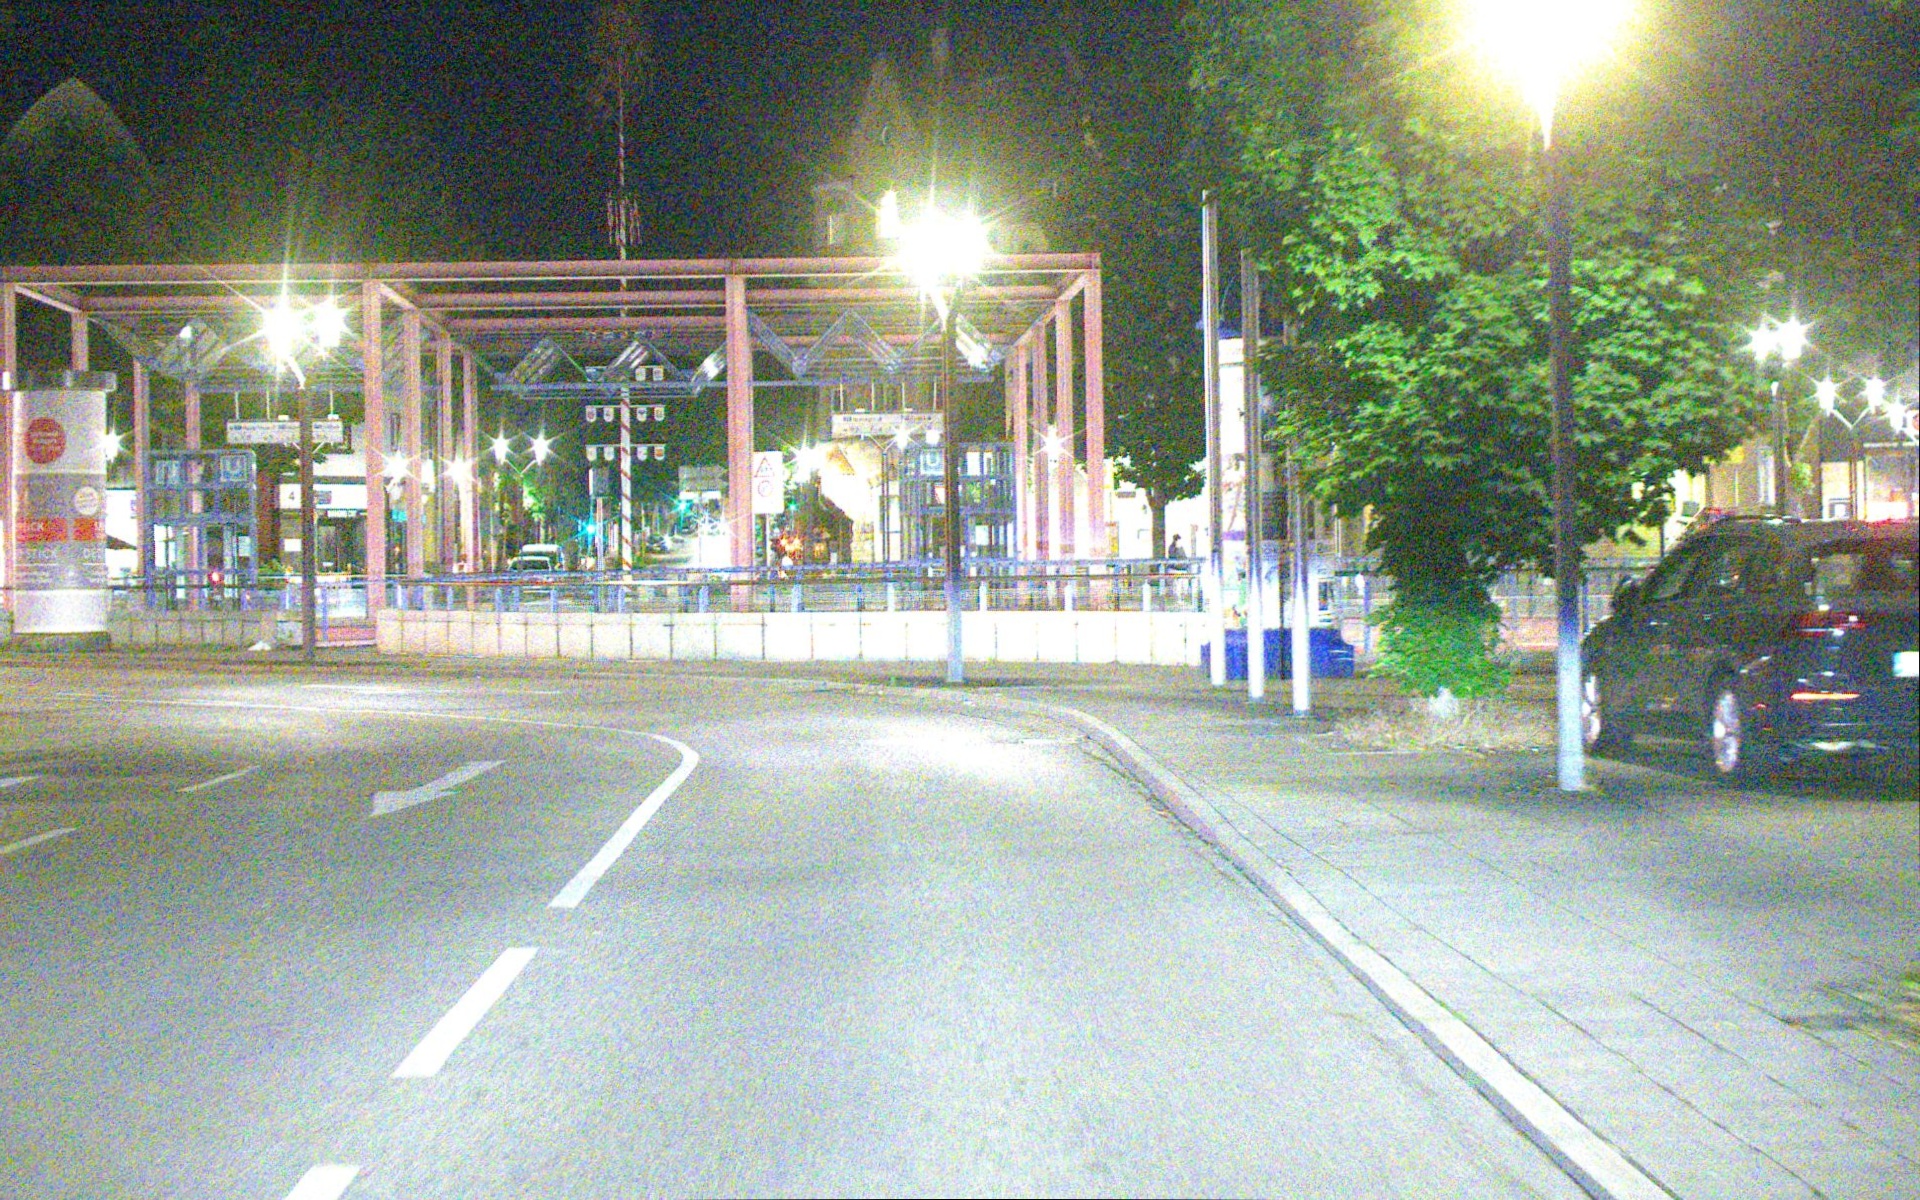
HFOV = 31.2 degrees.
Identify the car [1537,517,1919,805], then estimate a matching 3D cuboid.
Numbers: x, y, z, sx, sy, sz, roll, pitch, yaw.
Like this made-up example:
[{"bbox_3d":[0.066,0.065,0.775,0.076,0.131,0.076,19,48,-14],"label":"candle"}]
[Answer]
[{"bbox_3d":[4.801,0.269,19.853,1.733,1.454,4.728,0,1,-5],"label":"car"}]
